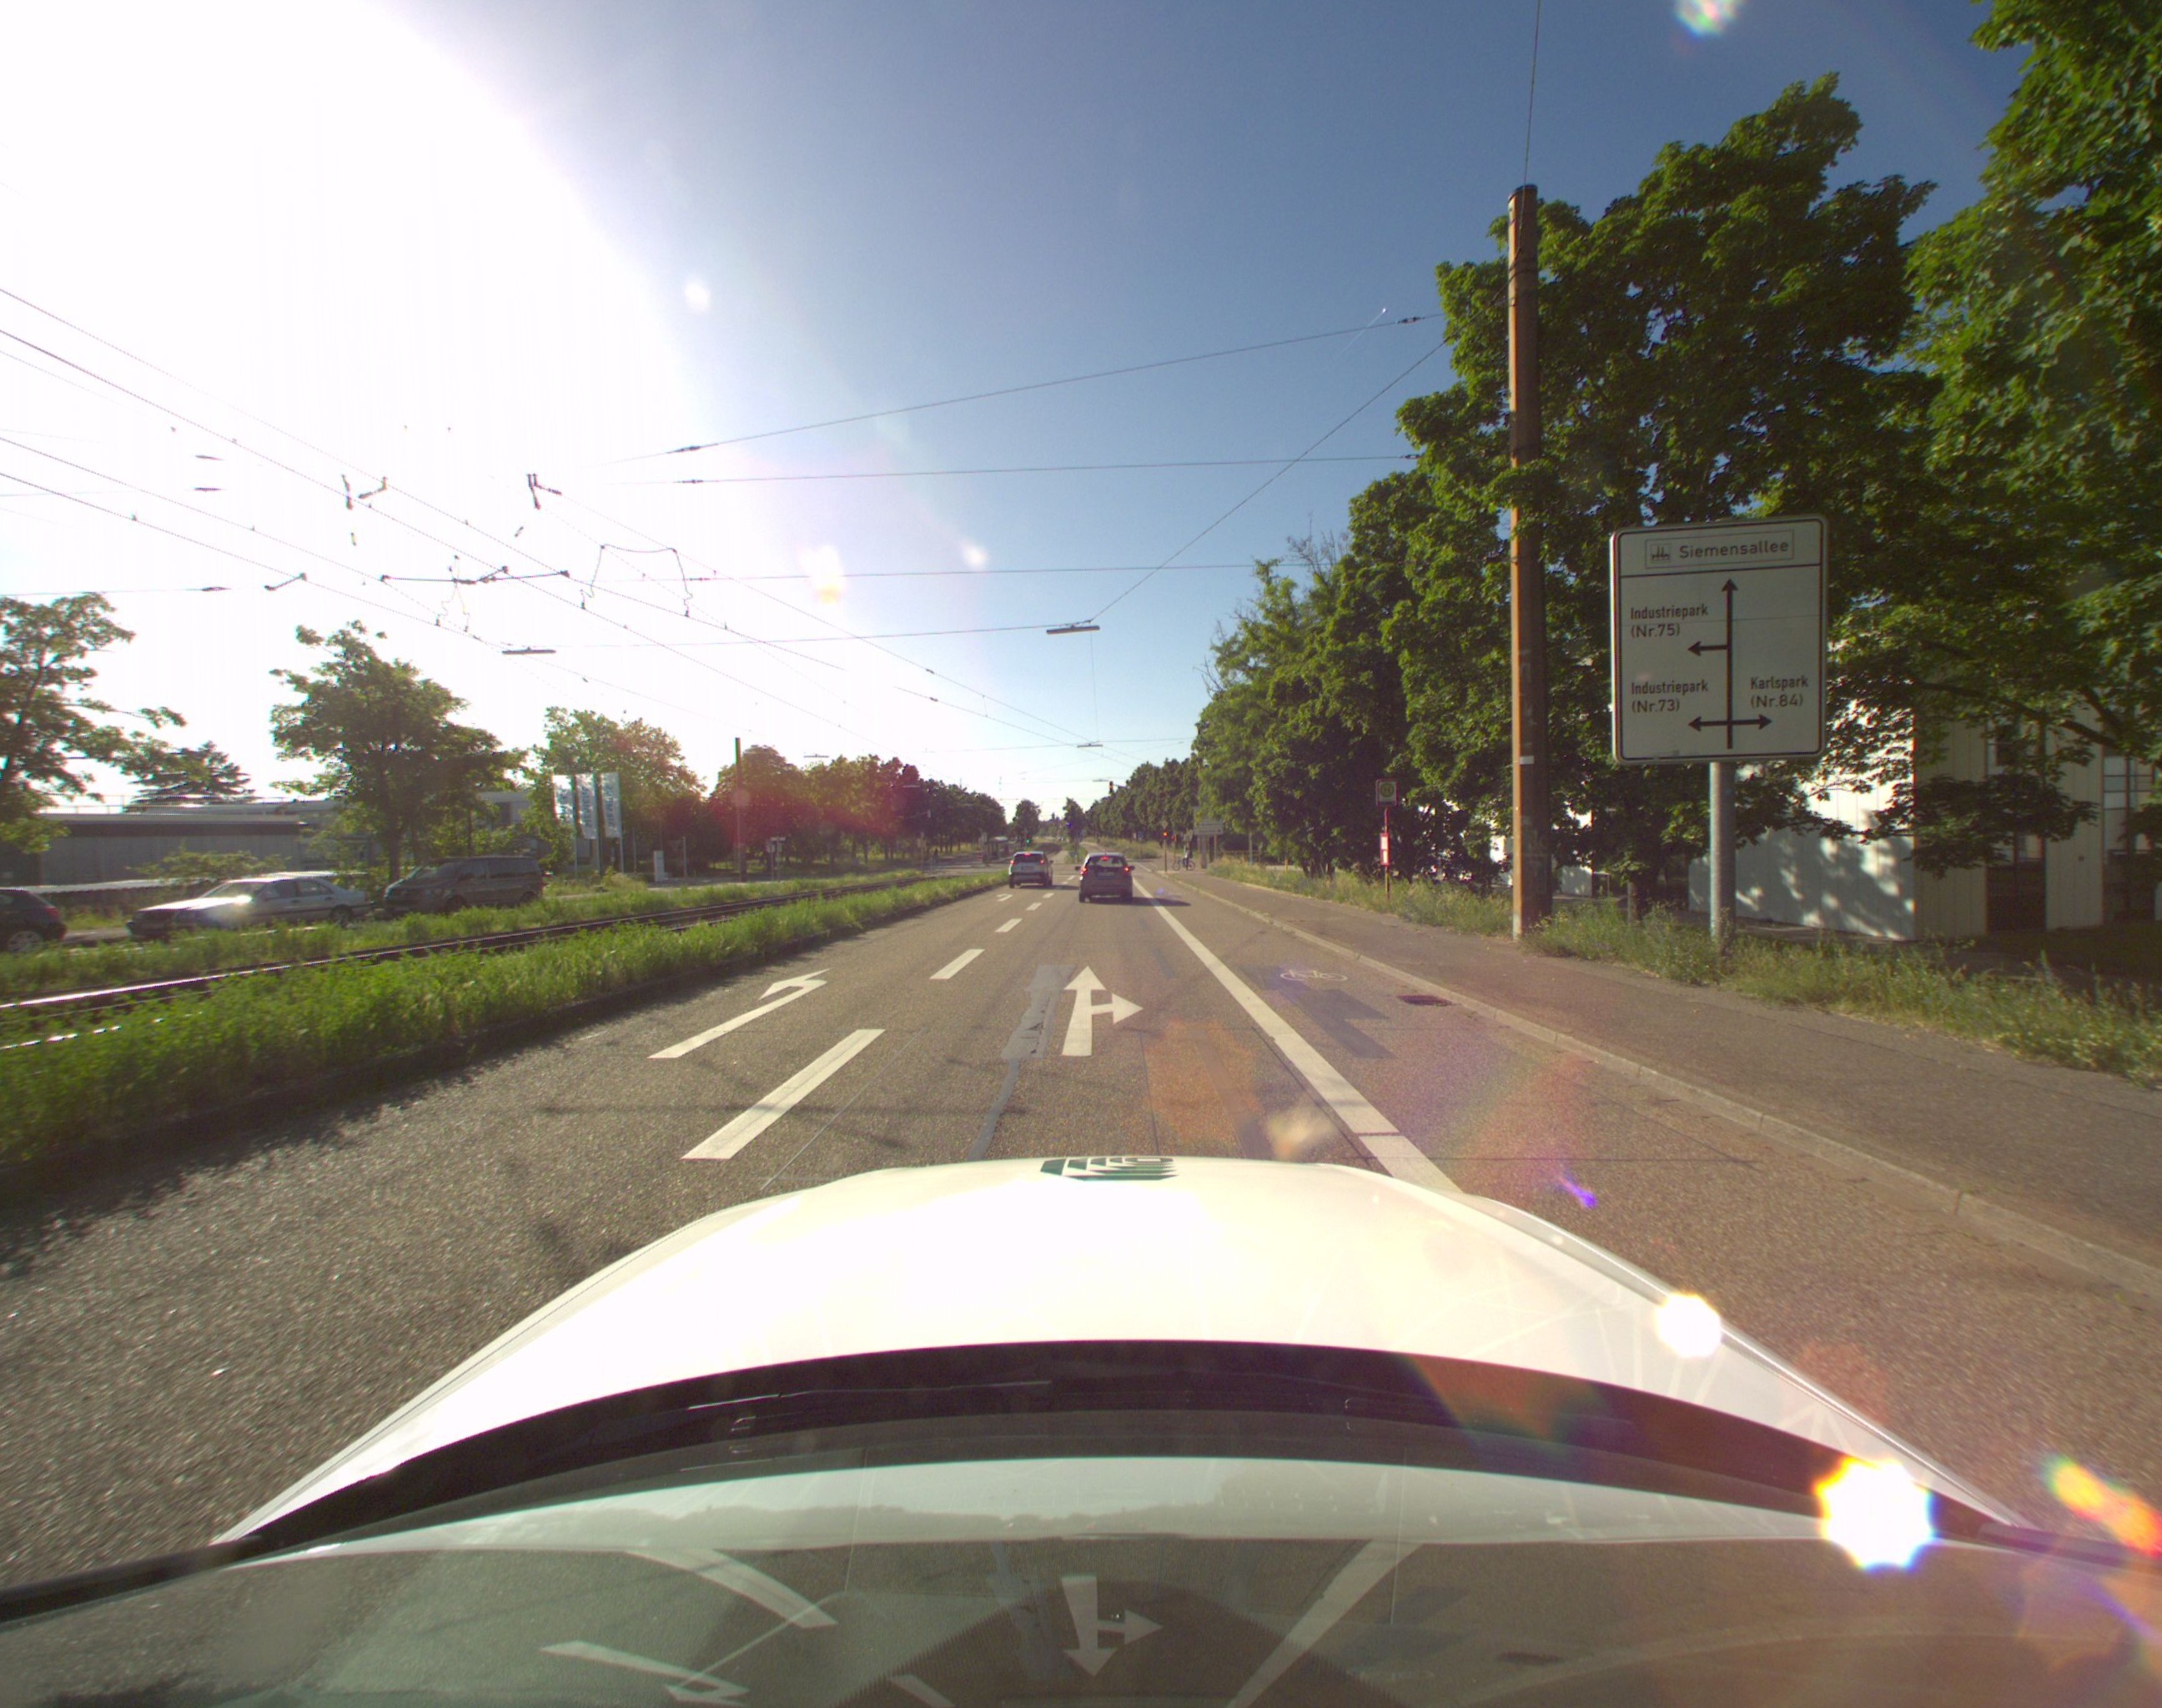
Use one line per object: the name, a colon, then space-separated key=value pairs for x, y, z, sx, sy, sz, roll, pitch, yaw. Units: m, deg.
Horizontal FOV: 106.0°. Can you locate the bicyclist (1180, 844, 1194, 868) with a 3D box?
bicyclist: x=7.849 y=0.154 z=60.429 sx=0.904 sy=1.745 sz=0.767 roll=-3 pitch=0 yaw=12

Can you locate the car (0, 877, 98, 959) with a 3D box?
car: x=-20.735 y=1.228 z=14.093 sx=1.986 sy=1.437 sz=4.417 roll=-1 pitch=1 yaw=2

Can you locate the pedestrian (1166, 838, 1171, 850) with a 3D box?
pedestrian: x=12.538 y=-1.446 z=116.494 sx=0.676 sy=1.610 sz=0.720 roll=0 pitch=0 yaw=-1

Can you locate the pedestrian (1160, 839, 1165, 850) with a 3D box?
pedestrian: x=11.648 y=-1.370 z=116.568 sx=0.565 sy=1.596 sz=0.665 roll=0 pitch=0 yaw=-2

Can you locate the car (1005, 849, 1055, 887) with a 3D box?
car: x=-2.249 y=0.590 z=37.154 sx=1.844 sy=1.606 sz=4.257 roll=-1 pitch=0 yaw=2

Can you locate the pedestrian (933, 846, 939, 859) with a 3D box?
pedestrian: x=-22.731 y=-0.164 z=127.731 sx=0.837 sy=2.013 sz=0.863 roll=-1 pitch=0 yaw=0

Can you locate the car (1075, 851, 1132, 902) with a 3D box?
car: x=0.786 y=0.674 z=26.528 sx=1.700 sy=1.508 sz=4.003 roll=-1 pitch=0 yaw=3

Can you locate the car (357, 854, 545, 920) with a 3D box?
car: x=-20.355 y=0.997 z=26.675 sx=2.187 sy=1.891 sz=4.796 roll=-1 pitch=0 yaw=4

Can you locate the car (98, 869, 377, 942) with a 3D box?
car: x=-20.637 y=1.180 z=20.306 sx=1.921 sy=1.437 sz=4.697 roll=-1 pitch=1 yaw=2

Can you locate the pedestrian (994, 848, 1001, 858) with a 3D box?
pedestrian: x=-10.991 y=-0.178 z=107.253 sx=0.718 sy=1.246 sz=0.711 roll=-2 pitch=0 yaw=0

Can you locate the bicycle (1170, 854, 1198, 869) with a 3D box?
bicycle: x=7.661 y=0.534 z=60.472 sx=1.907 sy=0.998 sz=0.767 roll=-4 pitch=-1 yaw=12
